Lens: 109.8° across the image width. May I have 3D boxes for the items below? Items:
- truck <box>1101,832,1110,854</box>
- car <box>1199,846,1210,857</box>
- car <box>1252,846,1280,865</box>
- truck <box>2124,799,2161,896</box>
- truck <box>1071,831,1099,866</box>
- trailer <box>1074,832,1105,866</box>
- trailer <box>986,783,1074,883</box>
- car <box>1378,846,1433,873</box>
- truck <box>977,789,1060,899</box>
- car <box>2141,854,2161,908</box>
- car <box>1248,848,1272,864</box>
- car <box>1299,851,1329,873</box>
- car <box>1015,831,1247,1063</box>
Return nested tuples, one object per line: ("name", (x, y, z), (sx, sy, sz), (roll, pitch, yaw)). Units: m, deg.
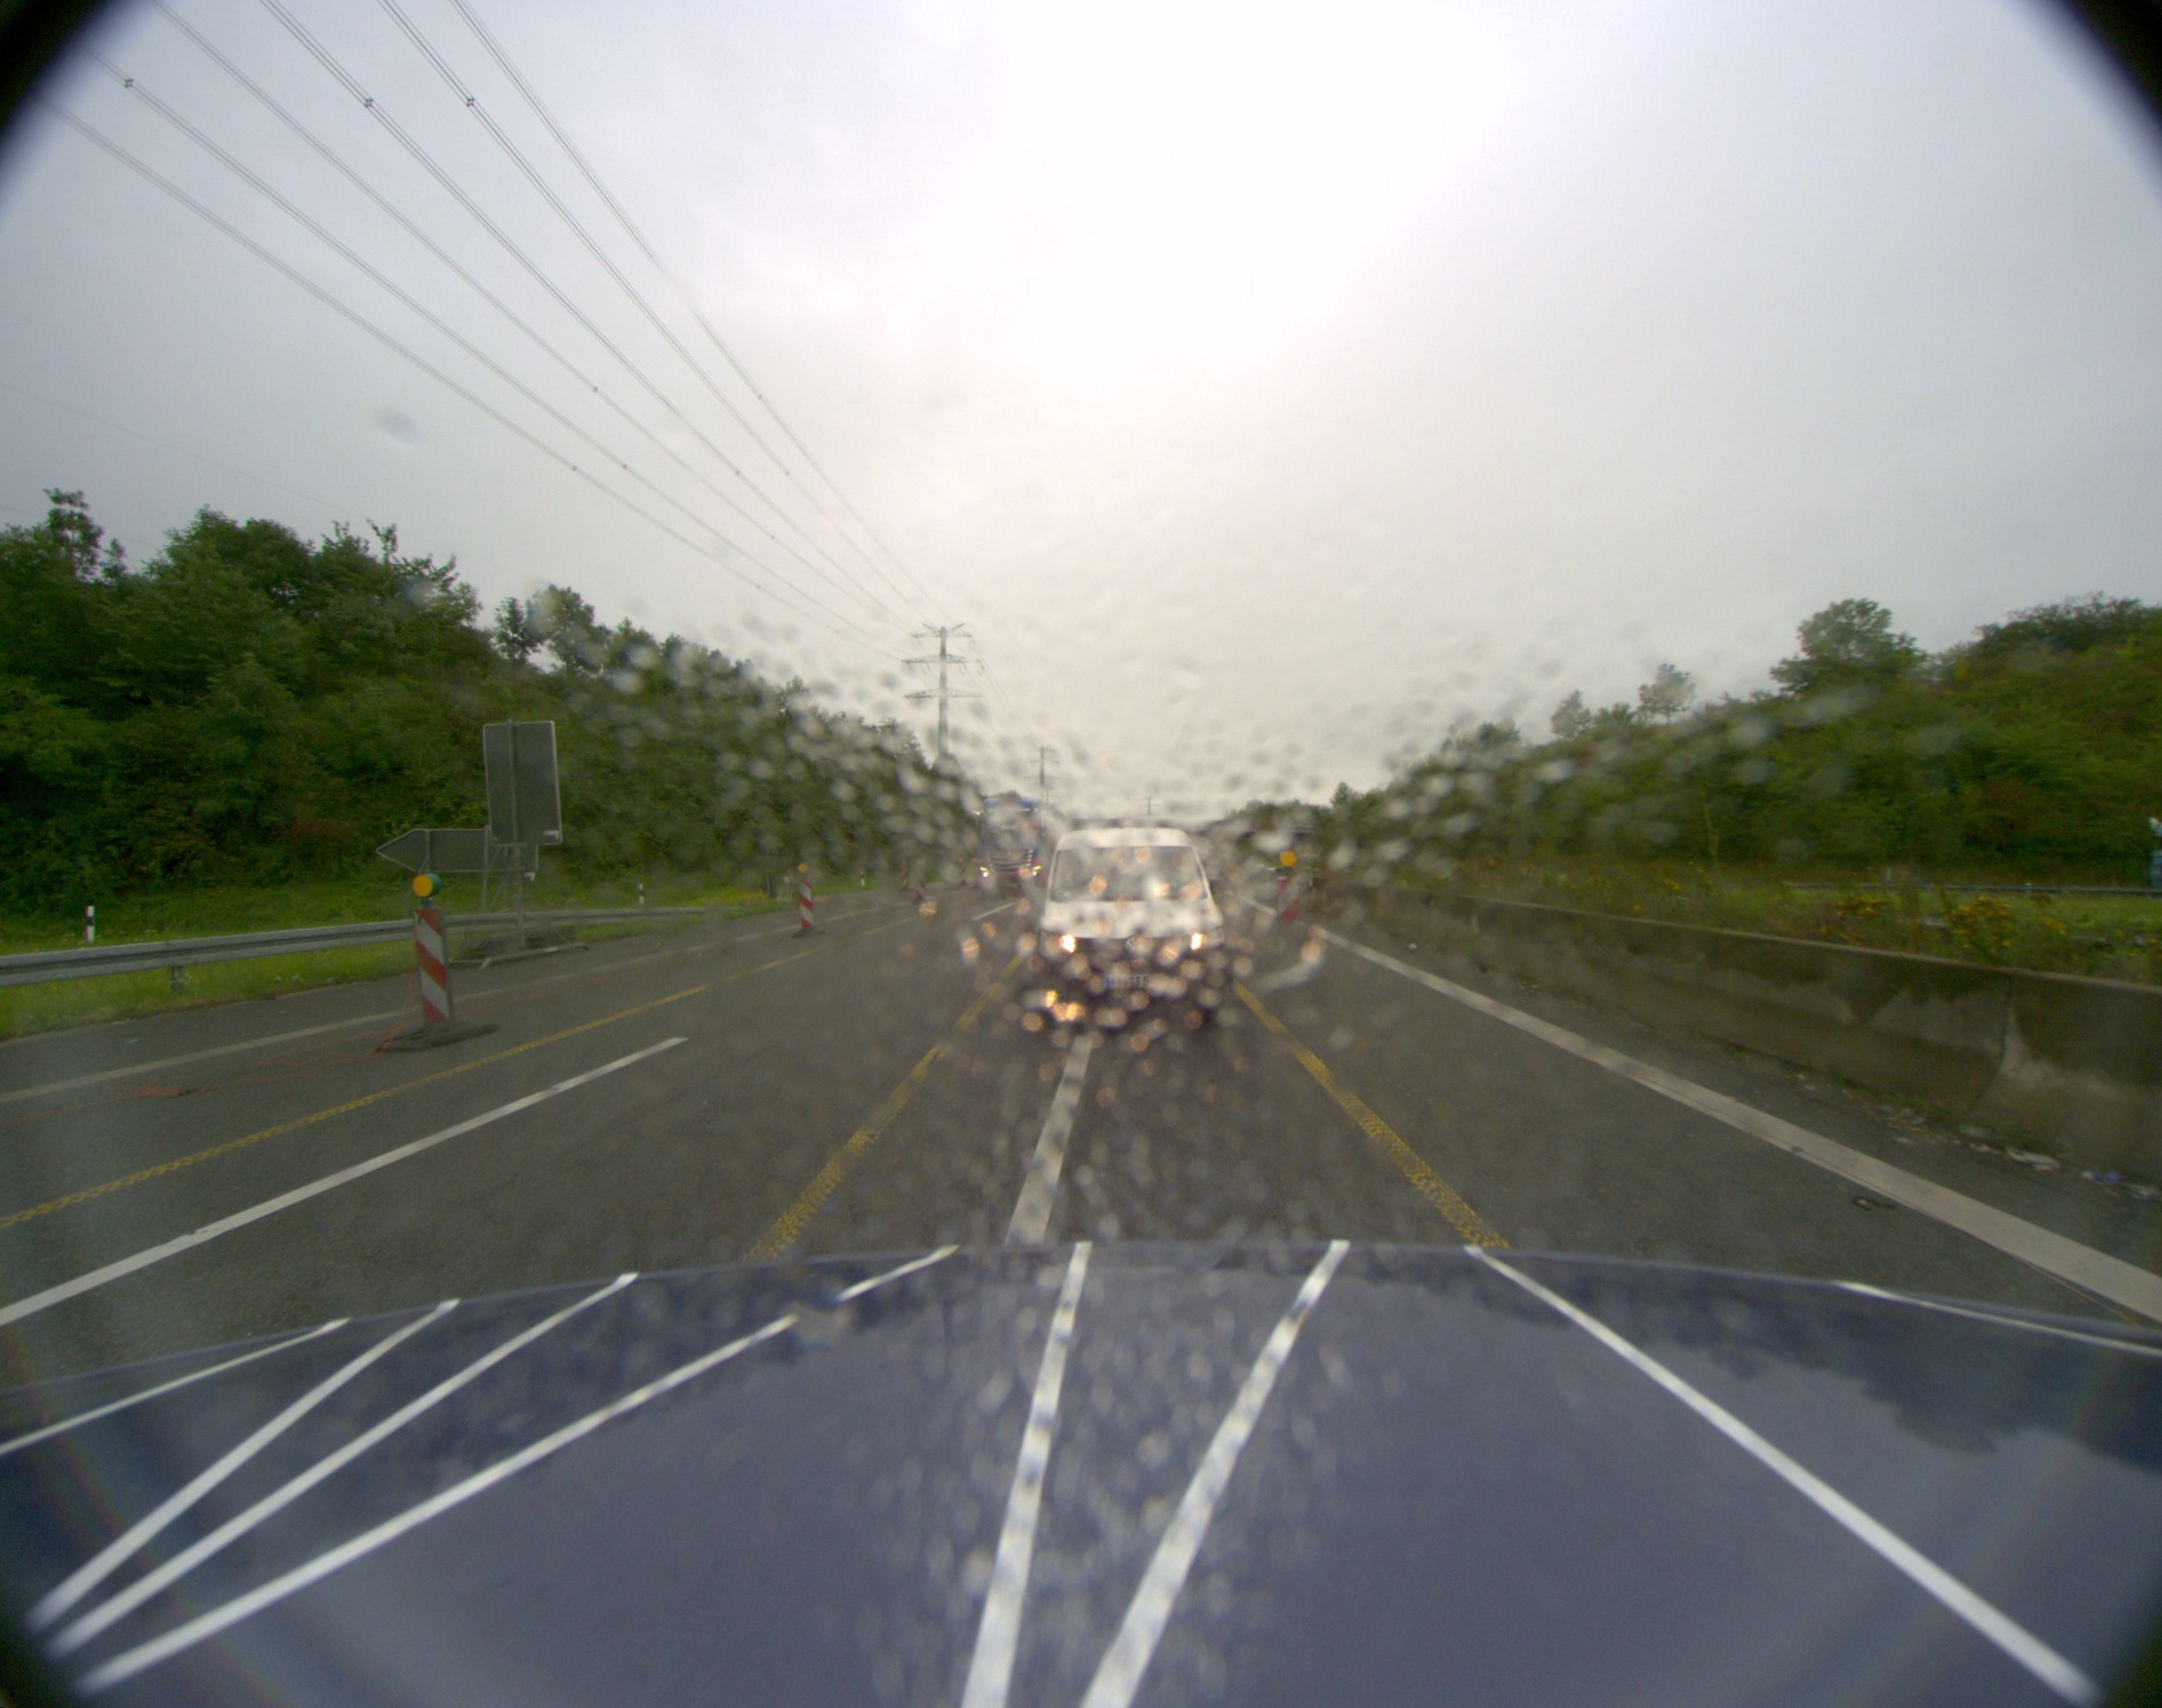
("truck", (6.869, -3.134, 215.288), (2.276, 3.697, 6.628), (-2, 28, 3))
("car", (29.702, -0.620, 183.307), (2.244, 2.426, 5.885), (0, 0, 5))
("car", (18.955, 0.088, 77.861), (1.998, 1.791, 4.000), (-2, 1, 3))
("truck", (46.570, -0.242, 24.985), (14.540, 3.599, 2.906), (0, 0, 29))
("truck", (0.508, -0.713, 91.255), (2.747, 3.912, 5.398), (-2, 1, 5))
("trailer", (1.263, -0.783, 98.972), (2.807, 3.980, 14.152), (-2, 1, 5))
("trailer", (-2.050, -0.936, 35.945), (2.525, 3.812, 12.351), (-2, 1, 3))
("car", (21.756, 0.348, 51.157), (1.998, 1.779, 4.229), (0, 0, 1))
("truck", (-2.346, -0.395, 29.656), (2.553, 3.924, 4.000), (-2, 1, 3))
("car", (42.486, 1.016, 27.797), (3.988, 2.002, 2.004), (1, 1, 44))
("car", (18.372, 0.193, 78.078), (1.872, 1.640, 4.001), (0, 0, 4))
("car", (18.324, 0.610, 59.903), (1.455, 1.523, 3.661), (-2, 1, 4))
("car", (0.452, 0.726, 8.324), (1.770, 1.774, 4.647), (-2, 0, 1))
